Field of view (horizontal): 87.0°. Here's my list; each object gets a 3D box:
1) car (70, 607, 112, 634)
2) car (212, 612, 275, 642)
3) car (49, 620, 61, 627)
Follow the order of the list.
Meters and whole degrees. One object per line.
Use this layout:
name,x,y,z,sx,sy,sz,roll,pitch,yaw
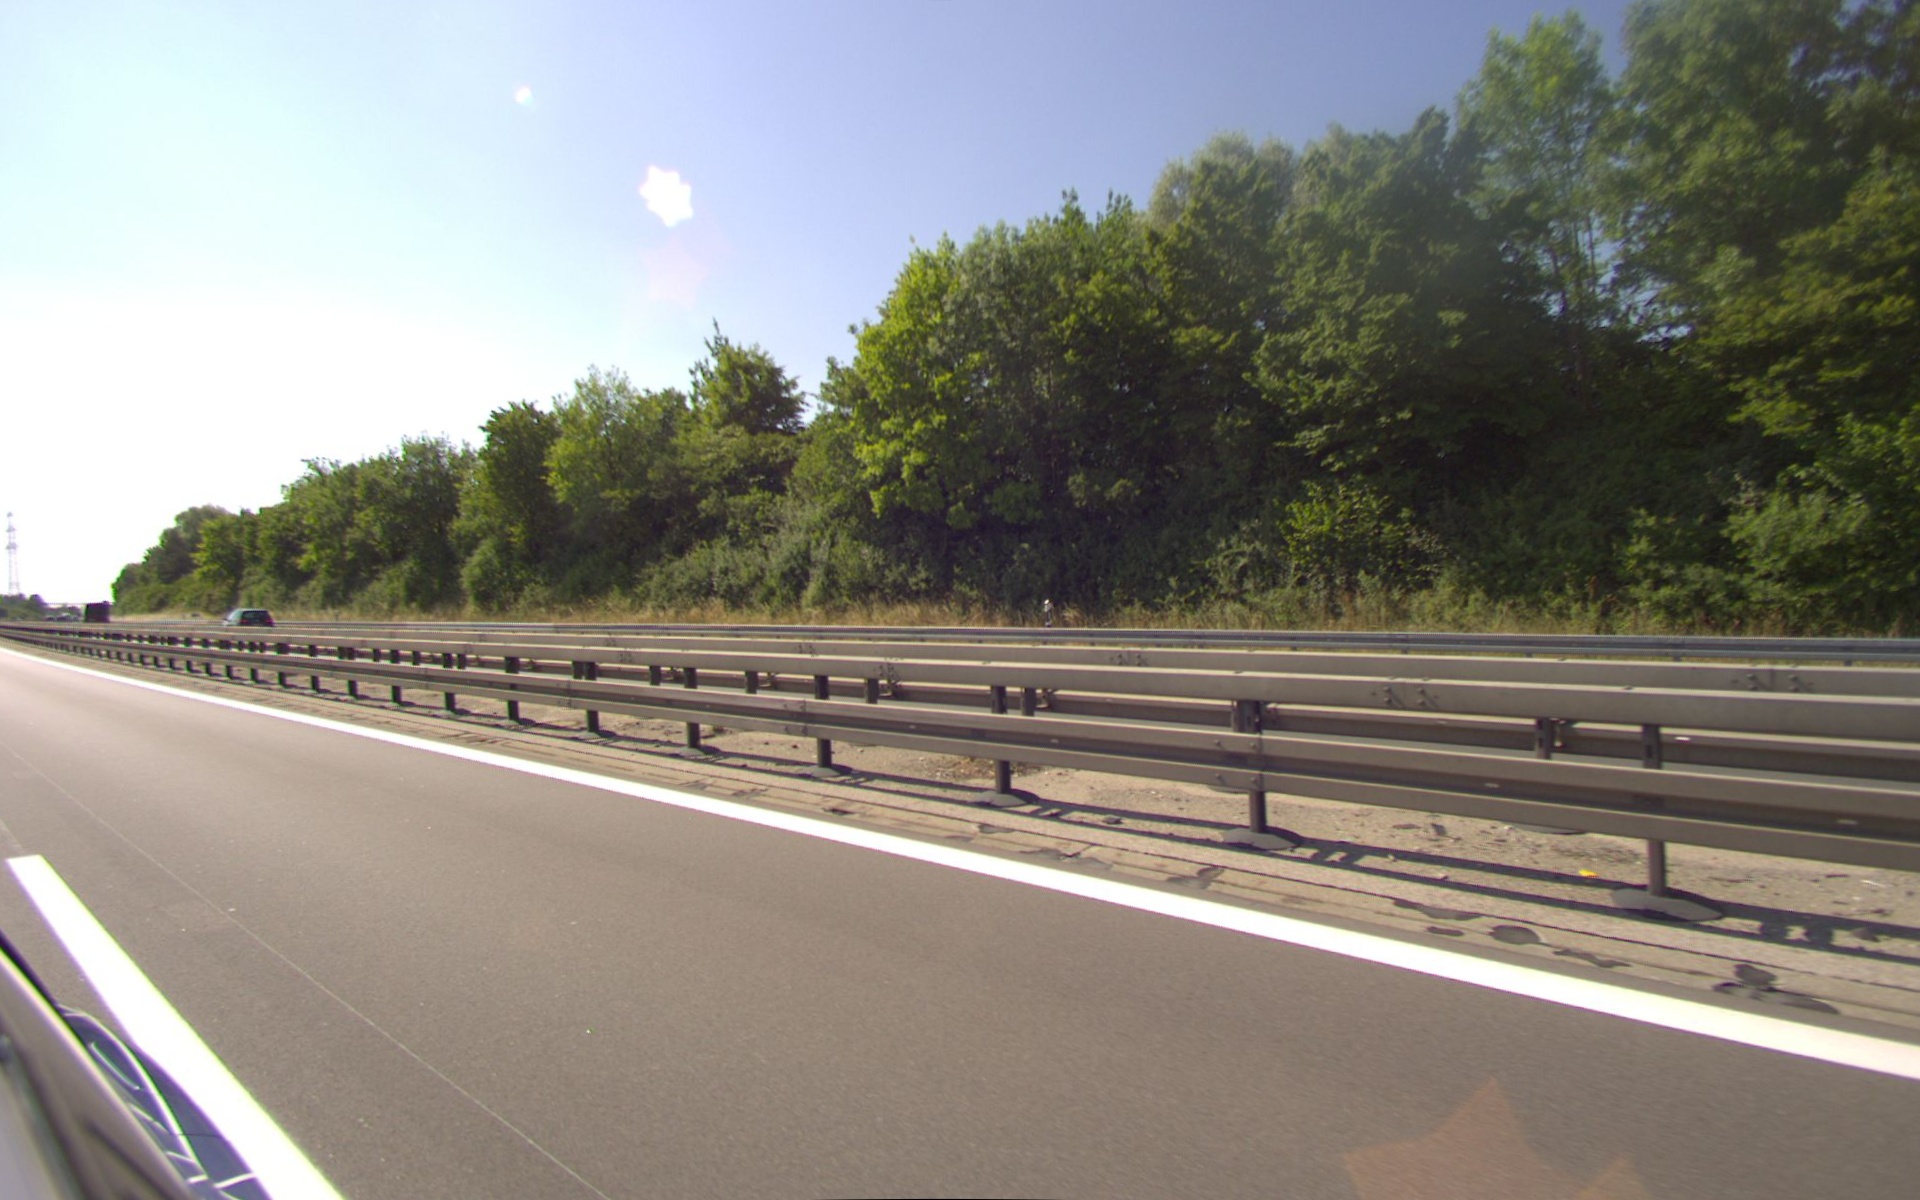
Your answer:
car,-88.755,2.078,103.335,6.593,2.614,2.516,-1,1,43
car,-39.346,1.469,55.501,4.848,1.567,1.791,-1,0,42
car,-175.946,4.559,196.778,1.643,1.433,4.004,-1,0,-43
